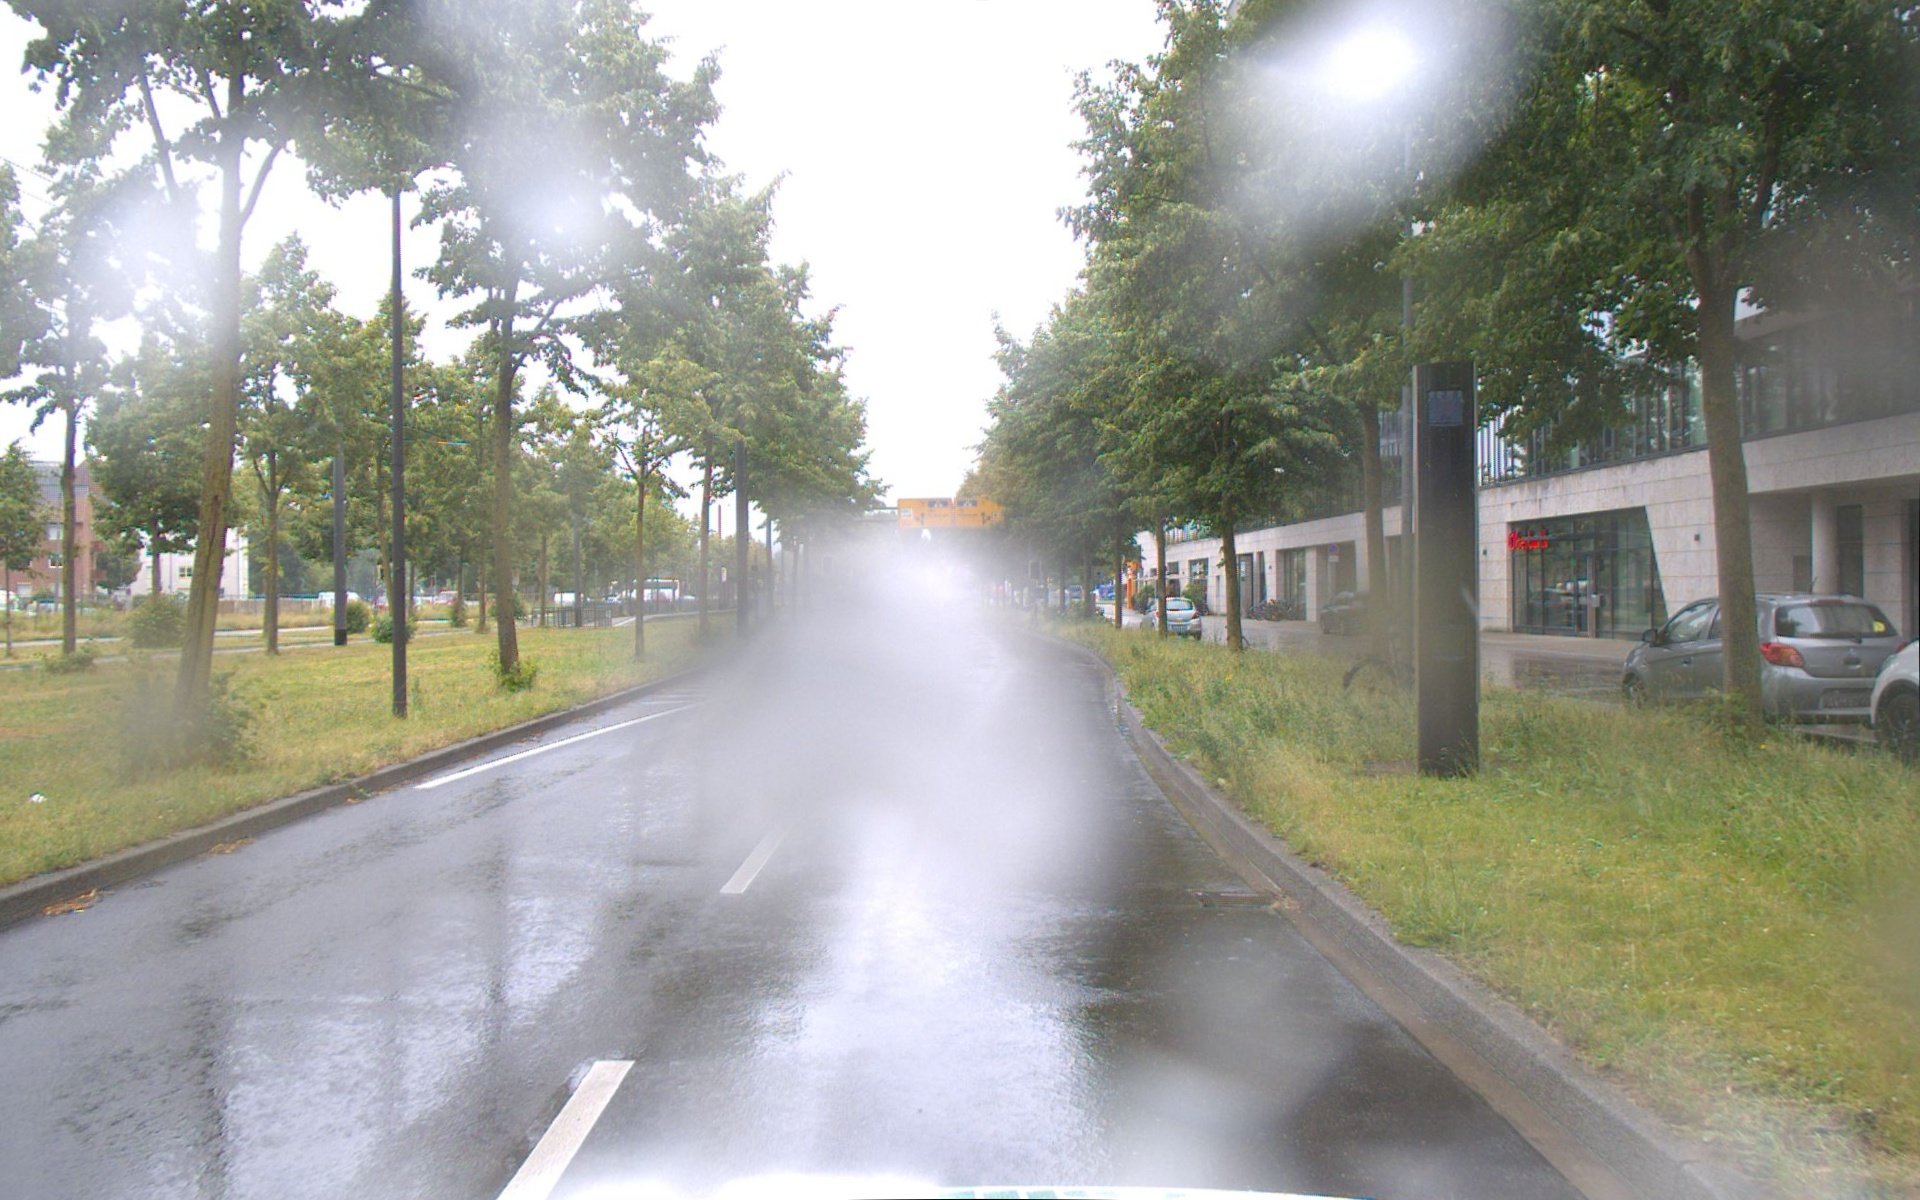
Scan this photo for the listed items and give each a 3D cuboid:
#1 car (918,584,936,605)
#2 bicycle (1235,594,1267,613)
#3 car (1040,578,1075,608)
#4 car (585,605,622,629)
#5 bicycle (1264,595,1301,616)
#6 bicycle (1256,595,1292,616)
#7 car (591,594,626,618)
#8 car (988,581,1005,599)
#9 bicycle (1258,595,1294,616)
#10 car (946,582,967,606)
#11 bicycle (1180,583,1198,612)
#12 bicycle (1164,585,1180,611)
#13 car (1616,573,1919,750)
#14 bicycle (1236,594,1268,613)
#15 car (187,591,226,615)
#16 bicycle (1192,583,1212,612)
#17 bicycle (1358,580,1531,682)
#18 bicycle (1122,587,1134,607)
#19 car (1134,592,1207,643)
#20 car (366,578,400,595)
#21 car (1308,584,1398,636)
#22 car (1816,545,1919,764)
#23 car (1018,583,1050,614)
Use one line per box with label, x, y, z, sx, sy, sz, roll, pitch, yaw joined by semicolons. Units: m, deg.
car;-3.440;-0.623;173.433;1.850;2.048;4.000;-1;2;-1
bicycle;15.855;0.192;90.178;1.659;1.046;0.423;-1;0;1
car;6.263;-0.464;106.728;1.867;1.822;4.687;-1;0;-2
car;-22.502;1.058;104.446;1.518;1.288;4.849;-1;2;-3
bicycle;16.168;0.259;82.903;1.769;1.046;0.401;-1;0;1
bicycle;16.095;0.271;84.788;1.769;1.046;0.541;-1;0;1
car;-22.185;0.398;104.458;1.459;1.320;4.971;-2;-2;-4
car;4.488;-1.284;204.898;1.953;2.048;4.001;-1;2;0
bicycle;16.078;0.269;84.180;1.769;1.046;0.541;-1;0;1
car;-0.346;-0.569;154.464;1.901;2.048;4.000;-1;2;-1
bicycle;14.919;-0.205;107.710;0.631;1.752;3.120;-1;2;-2
bicycle;14.986;-0.159;117.051;0.631;1.752;3.120;-1;2;-2
car;8.358;0.544;17.172;1.592;1.516;3.656;-1;2;-1
bicycle;15.850;0.189;89.695;1.659;1.046;0.423;-1;0;1
car;-71.931;0.300;157.995;1.953;2.048;4.000;-1;2;-2
bicycle;15.701;-0.195;107.281;0.756;1.752;3.120;-1;2;-2
bicycle;5.983;0.380;20.455;1.994;1.217;0.491;-1;0;-2
bicycle;14.212;-0.243;140.218;0.652;1.561;2.764;-1;2;-1
car;7.309;0.578;57.898;1.843;1.532;4.724;-1;3;-1
car;-65.777;-1.509;188.593;3.487;1.768;1.693;-2;3;-26
car;14.022;0.332;59.295;1.953;1.526;5.035;-5;1;1
car;8.563;0.467;12.219;1.953;1.698;4.724;-1;3;-1
car;5.595;-0.132;125.425;2.078;2.313;4.563;-1;0;-2
